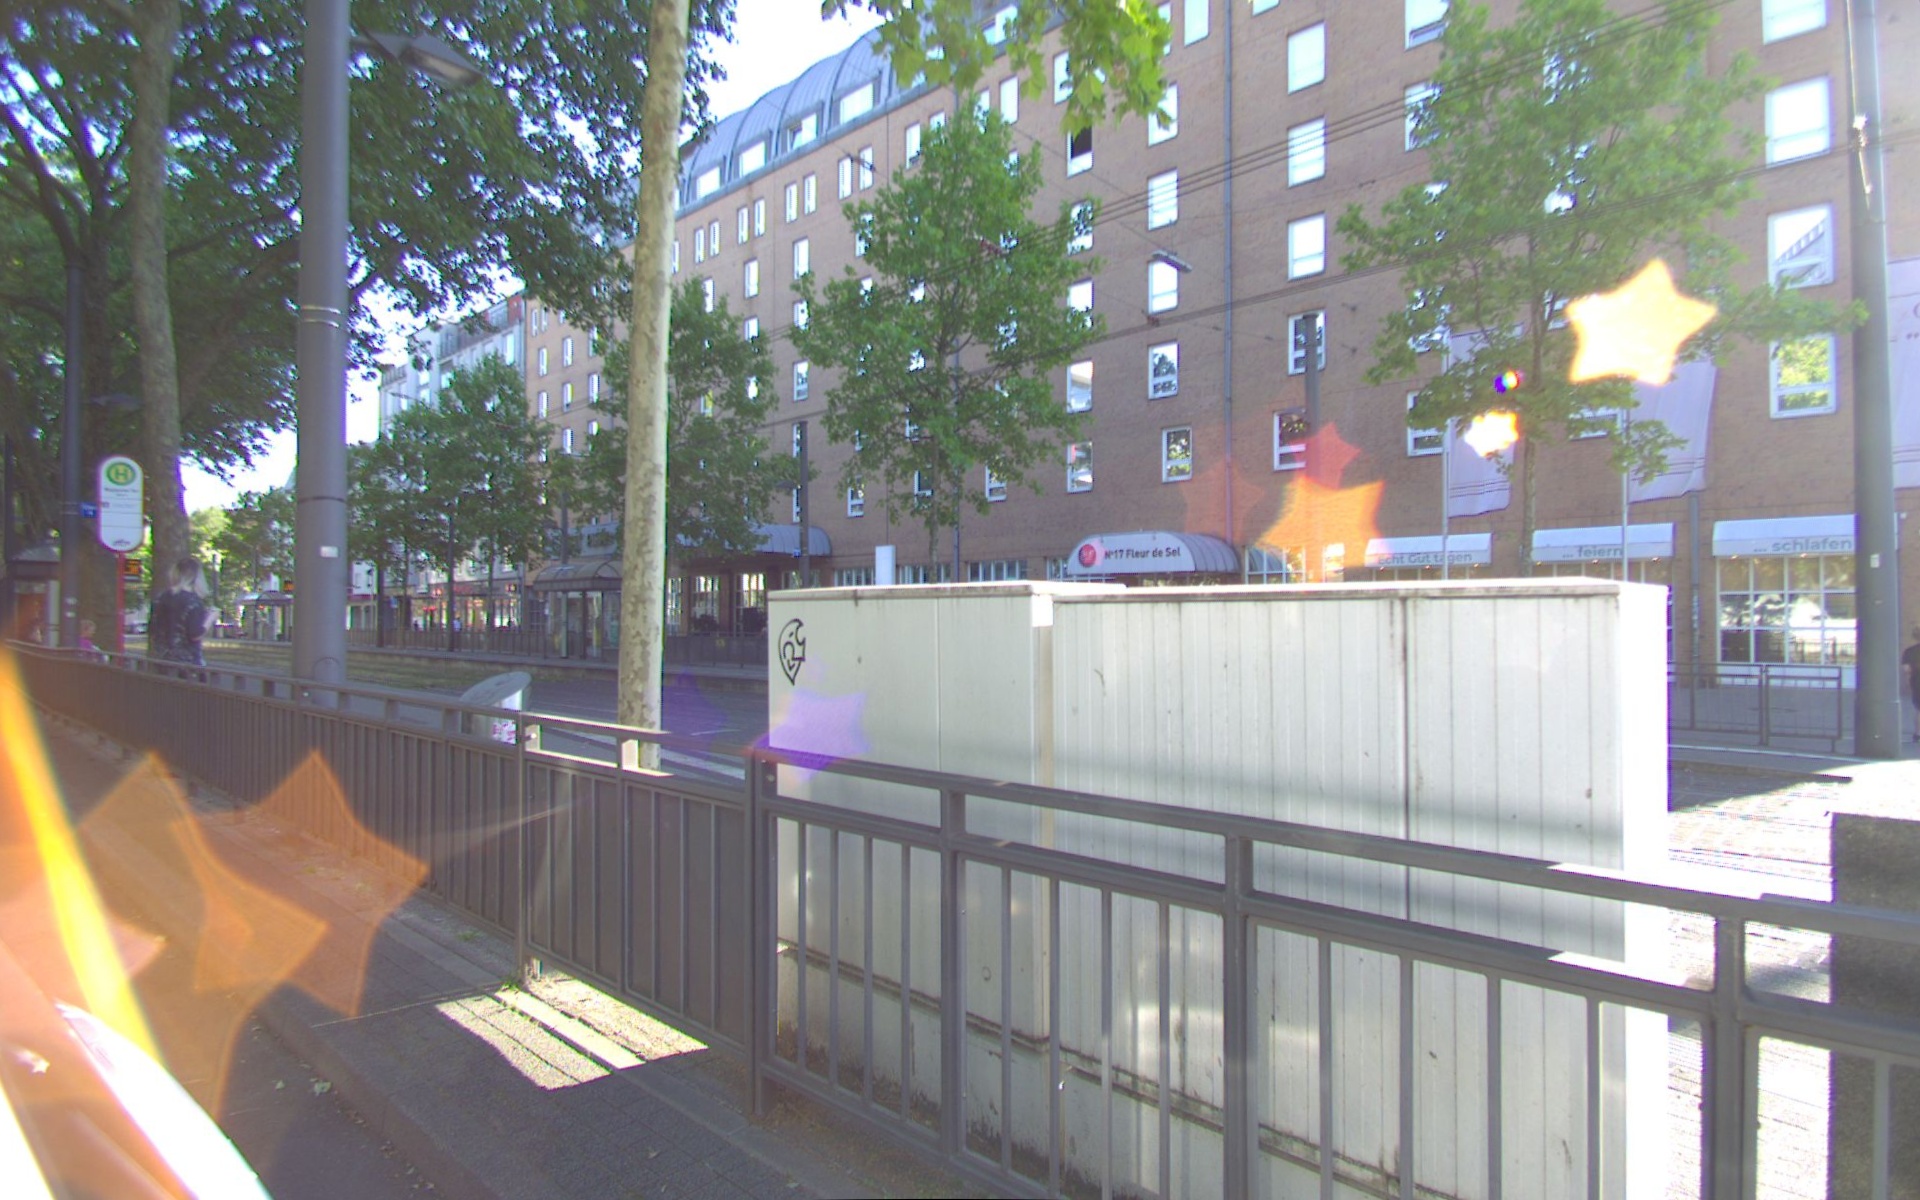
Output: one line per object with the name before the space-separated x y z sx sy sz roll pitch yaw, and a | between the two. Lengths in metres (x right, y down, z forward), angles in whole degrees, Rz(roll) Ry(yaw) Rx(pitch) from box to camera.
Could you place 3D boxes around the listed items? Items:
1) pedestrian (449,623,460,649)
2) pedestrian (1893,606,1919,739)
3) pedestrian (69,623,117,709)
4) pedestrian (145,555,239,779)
pedestrian | -34.281 2.457 68.640 0.574 1.748 0.497 -2 -2 43
pedestrian | 13.641 0.994 14.034 0.957 1.812 0.980 -1 0 40
pedestrian | -13.934 1.040 16.277 0.534 1.327 0.525 -1 0 -37
pedestrian | -6.616 0.552 8.719 0.524 1.848 0.536 -1 0 42
